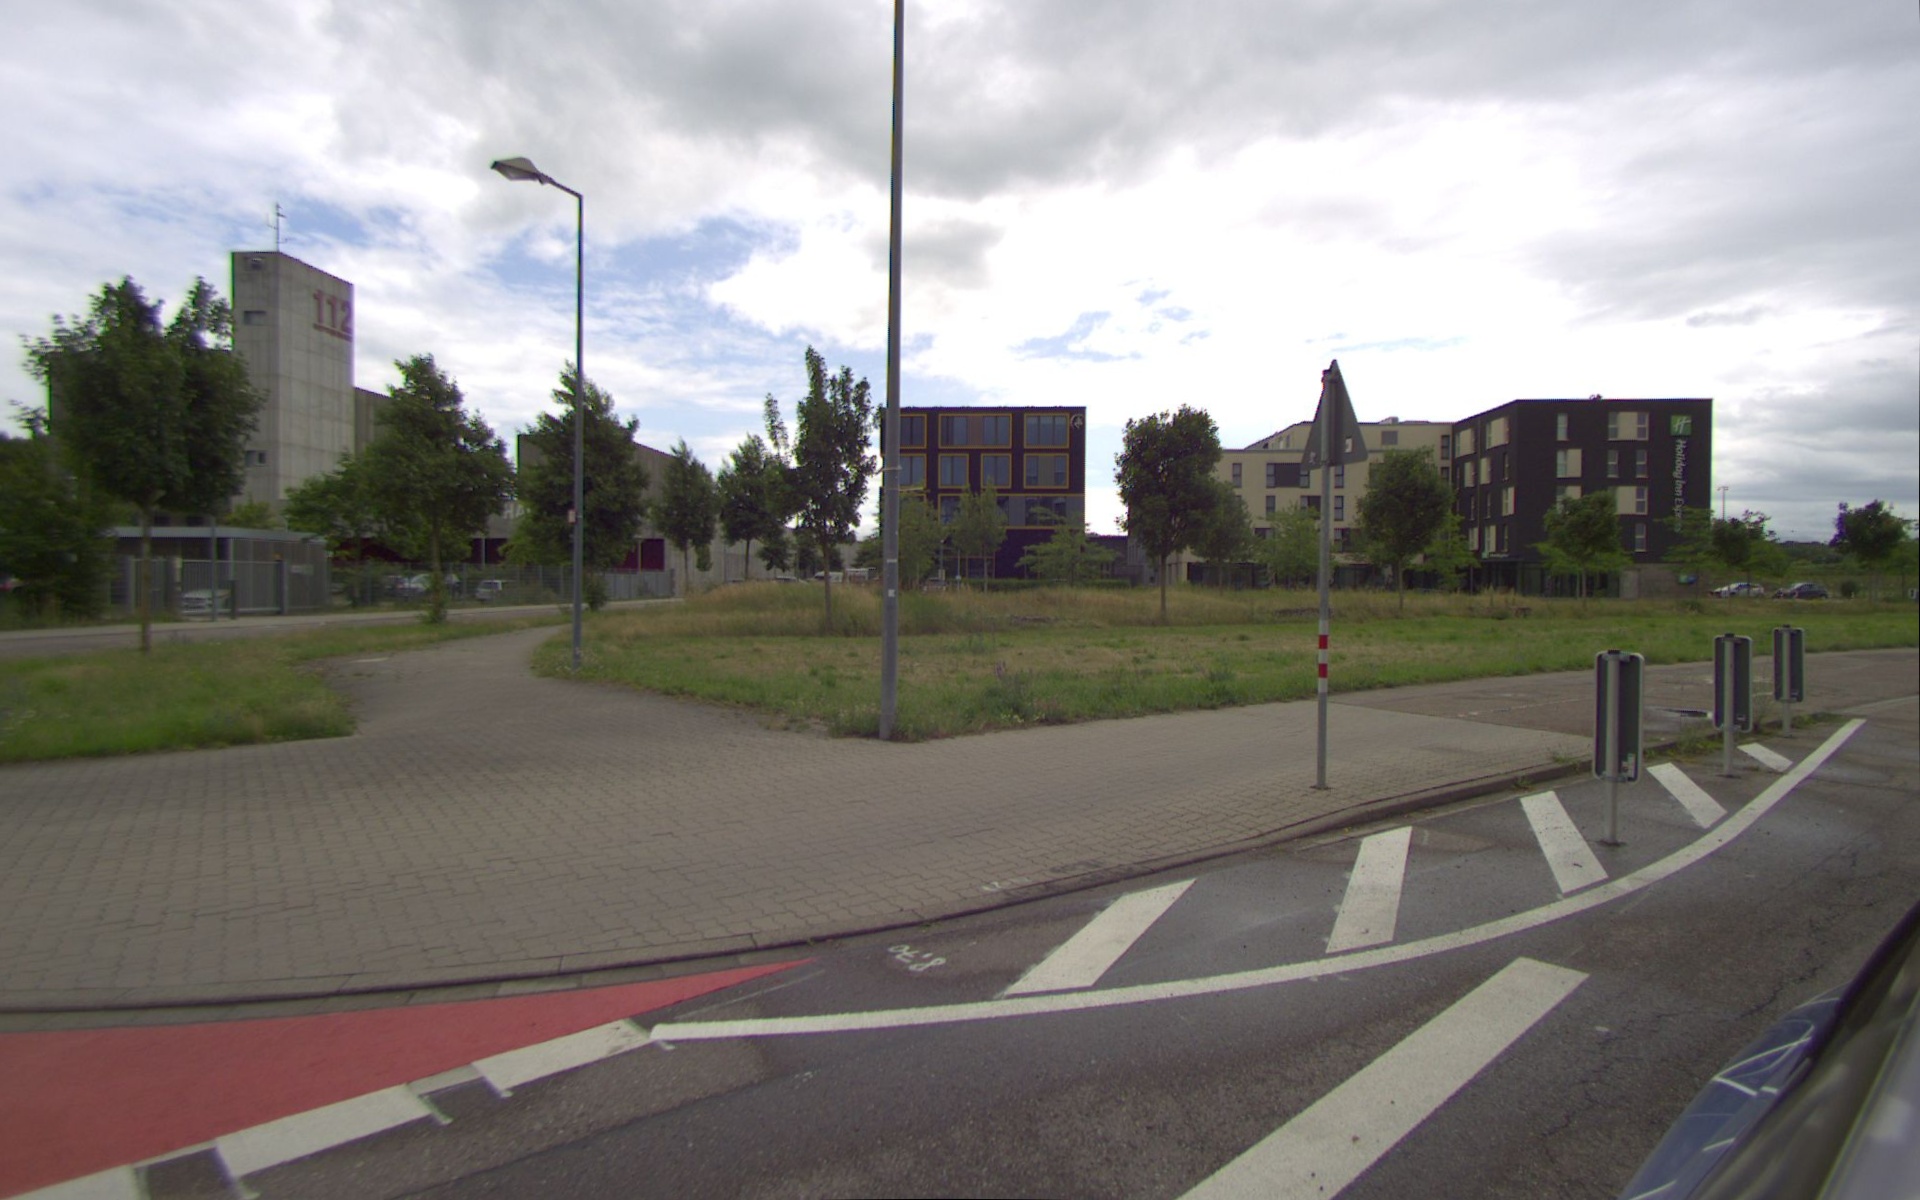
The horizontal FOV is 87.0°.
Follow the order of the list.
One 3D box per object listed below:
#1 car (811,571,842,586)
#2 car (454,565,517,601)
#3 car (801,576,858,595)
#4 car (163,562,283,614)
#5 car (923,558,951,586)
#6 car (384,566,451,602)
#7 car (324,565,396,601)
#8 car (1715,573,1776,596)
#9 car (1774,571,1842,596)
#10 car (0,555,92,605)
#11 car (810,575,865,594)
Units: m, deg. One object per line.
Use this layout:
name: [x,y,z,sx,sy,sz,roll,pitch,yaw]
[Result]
car: [-17.703,-2.834,134.357,3.926,2.039,1.999,0,1,2]
car: [-27.967,-1.013,59.773,1.961,2.039,4.003,1,1,-2]
car: [-9.715,-1.079,75.480,3.934,1.348,1.560,1,1,9]
car: [-30.618,-0.539,42.213,1.964,2.039,3.997,1,1,4]
car: [-1.706,-2.095,76.290,1.963,2.038,4.000,1,1,1]
car: [-31.918,-0.953,59.652,1.961,2.039,4.003,1,1,-2]
car: [-35.037,-1.005,59.202,1.961,2.039,4.003,1,1,-2]
car: [71.632,-1.400,92.299,3.927,2.039,1.999,1,1,3]
car: [71.084,-1.372,84.864,3.927,2.039,1.999,1,1,3]
car: [-39.761,-0.874,43.164,1.964,2.038,3.997,0,2,4]
car: [-9.432,-1.200,77.931,3.934,1.348,1.560,1,1,9]
